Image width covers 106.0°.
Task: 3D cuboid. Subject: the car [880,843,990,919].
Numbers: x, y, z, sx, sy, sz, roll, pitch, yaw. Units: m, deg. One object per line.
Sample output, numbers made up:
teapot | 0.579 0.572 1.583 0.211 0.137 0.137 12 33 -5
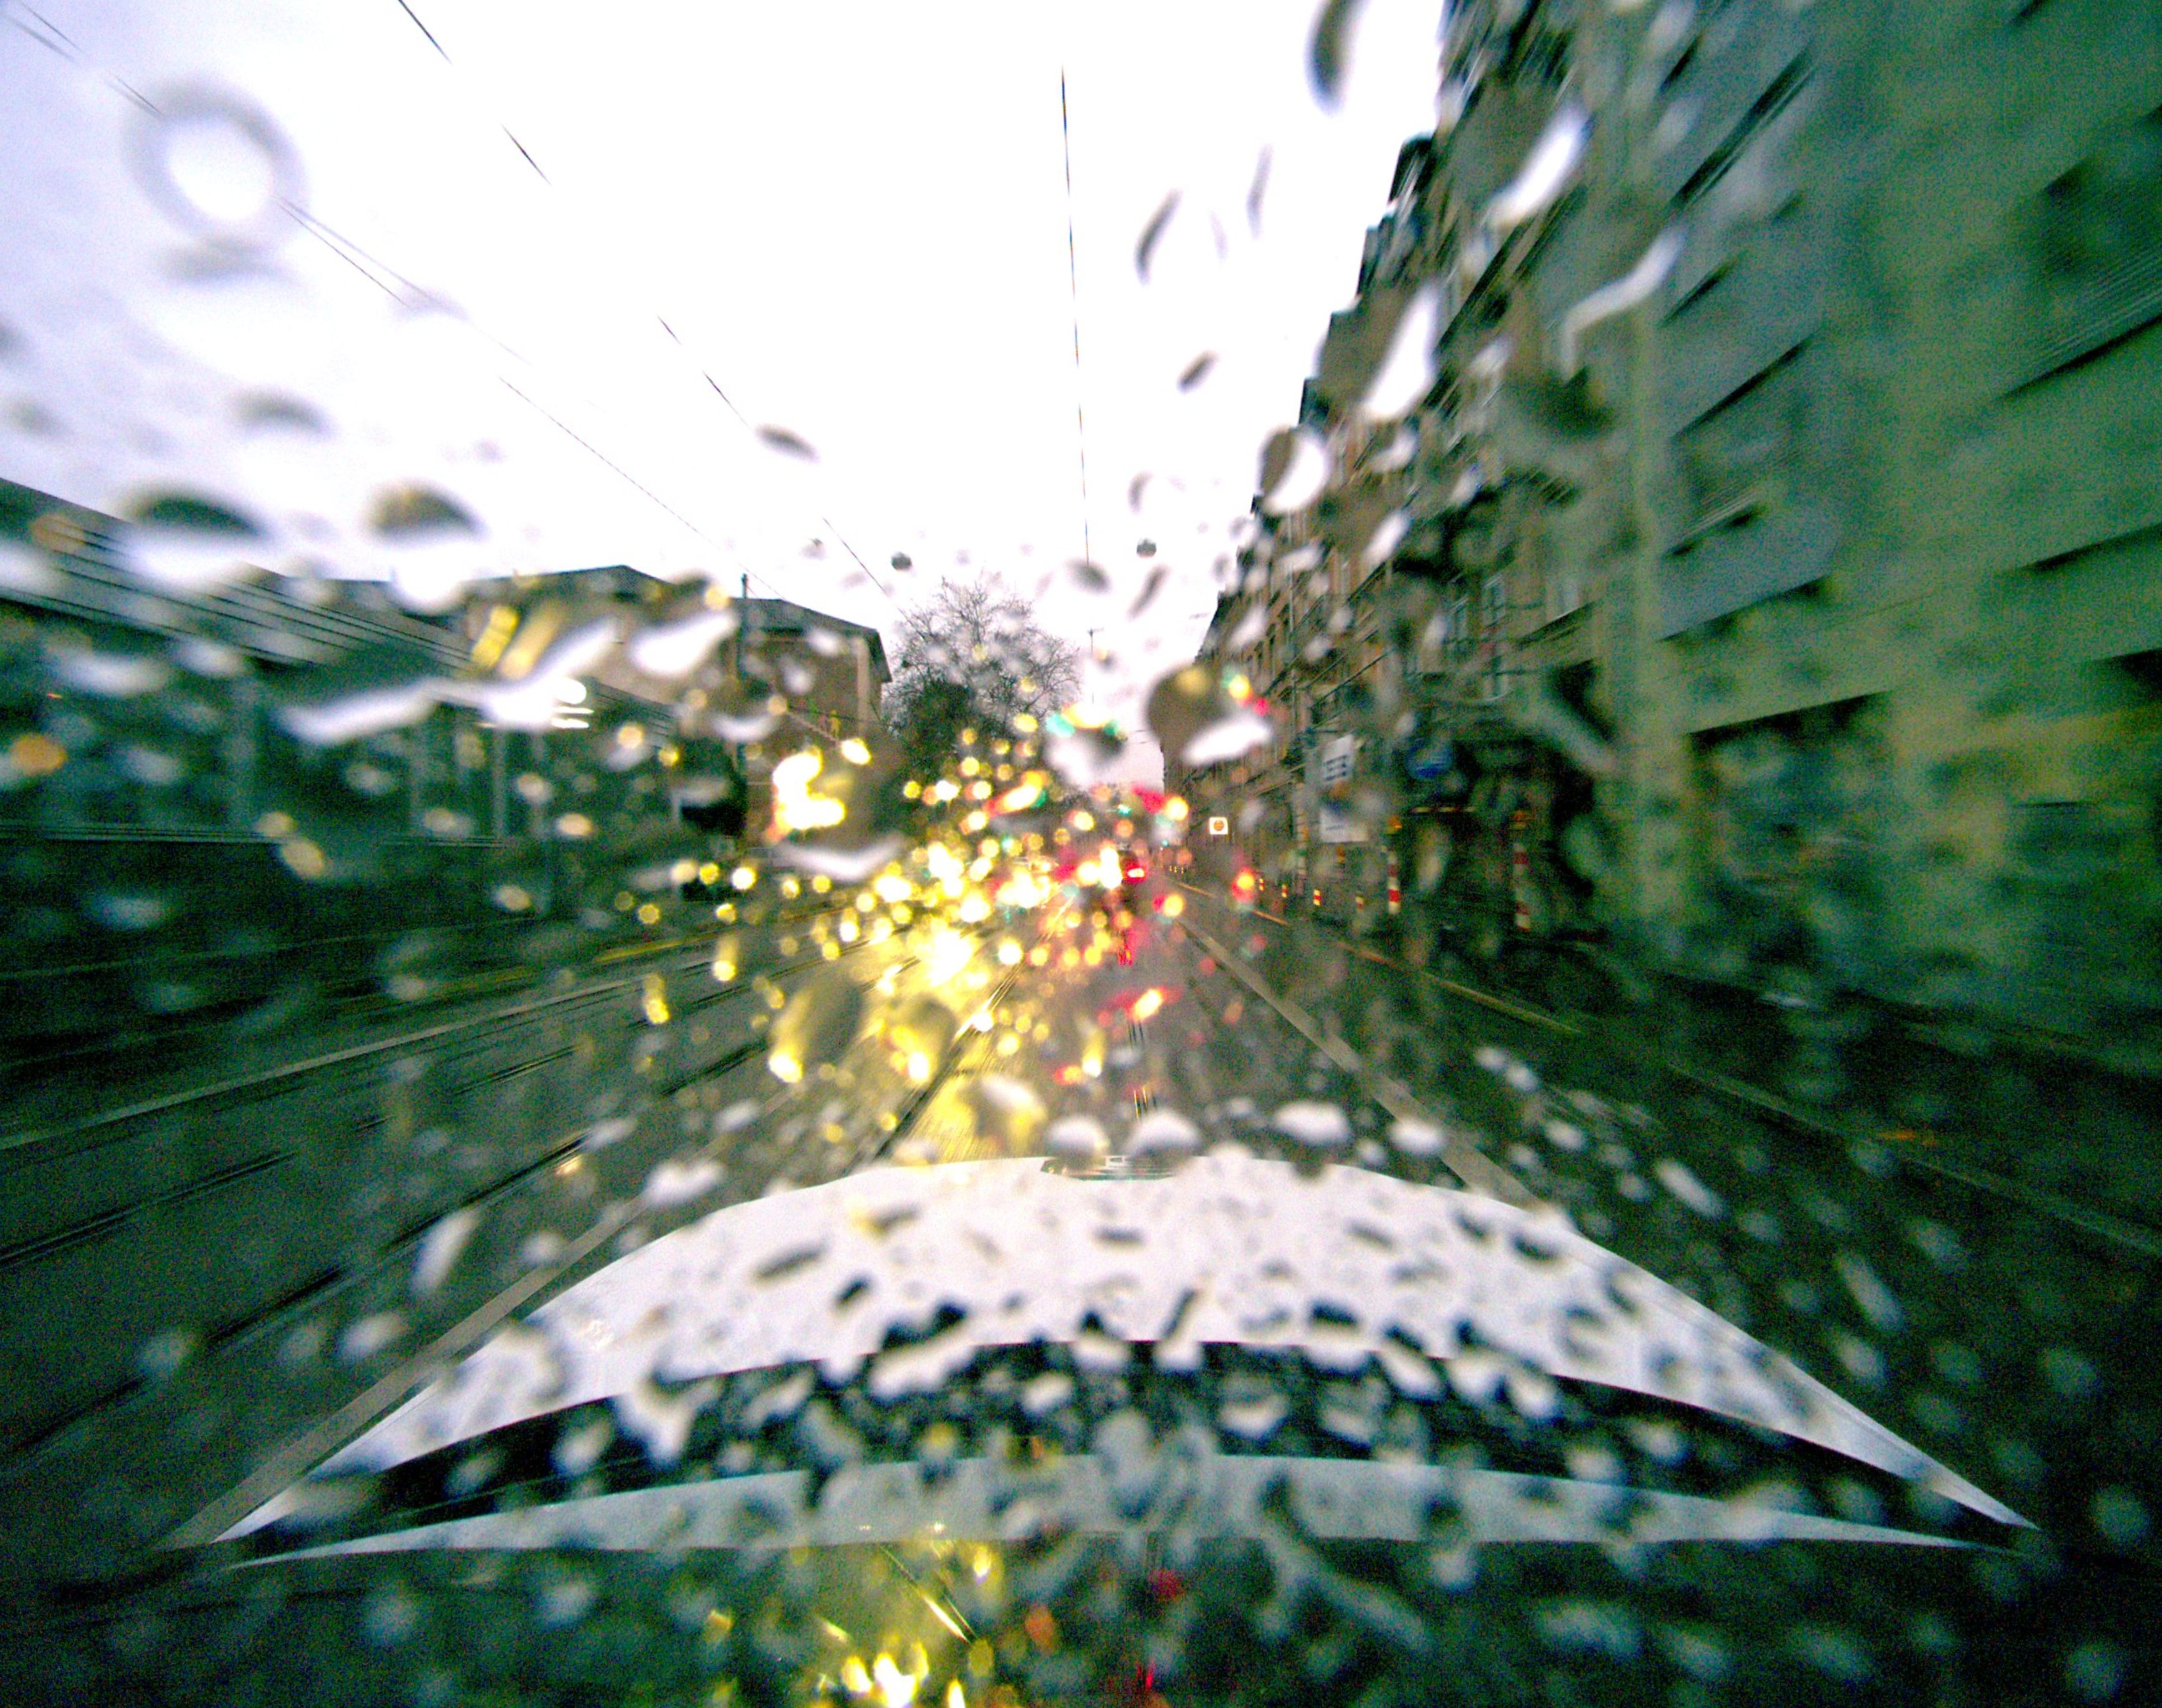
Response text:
car | -3.615 0.617 21.063 1.868 1.710 4.761 -2 0 1

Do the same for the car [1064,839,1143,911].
car | 0.732 0.545 23.118 1.984 1.842 4.005 -1 0 4

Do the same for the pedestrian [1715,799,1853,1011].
pedestrian | 6.433 0.437 7.476 0.601 1.818 0.769 0 -1 -26

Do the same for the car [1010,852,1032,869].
car | -5.910 0.659 80.565 1.979 1.615 4.425 0 -1 -2

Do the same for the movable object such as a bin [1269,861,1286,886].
movable object such as a bin | 7.510 0.750 31.130 0.505 0.931 0.507 -1 0 0

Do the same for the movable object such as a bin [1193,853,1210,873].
movable object such as a bin | 8.057 0.583 54.550 0.886 1.288 1.260 -1 0 -5

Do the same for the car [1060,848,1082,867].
car | -1.262 0.443 103.270 2.437 2.347 5.848 -2 -1 2

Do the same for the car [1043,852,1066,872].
car | -2.071 0.582 63.560 1.524 1.481 3.563 -1 0 2

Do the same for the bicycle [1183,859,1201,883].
bicycle | 5.555 0.829 40.851 0.681 1.156 2.189 0 -1 2

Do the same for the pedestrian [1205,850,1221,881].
pedestrian | 7.301 0.644 44.946 0.829 1.701 0.956 0 -1 10

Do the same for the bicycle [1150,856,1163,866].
bicycle | 8.701 0.844 94.098 0.795 1.144 2.230 0 -1 -17
